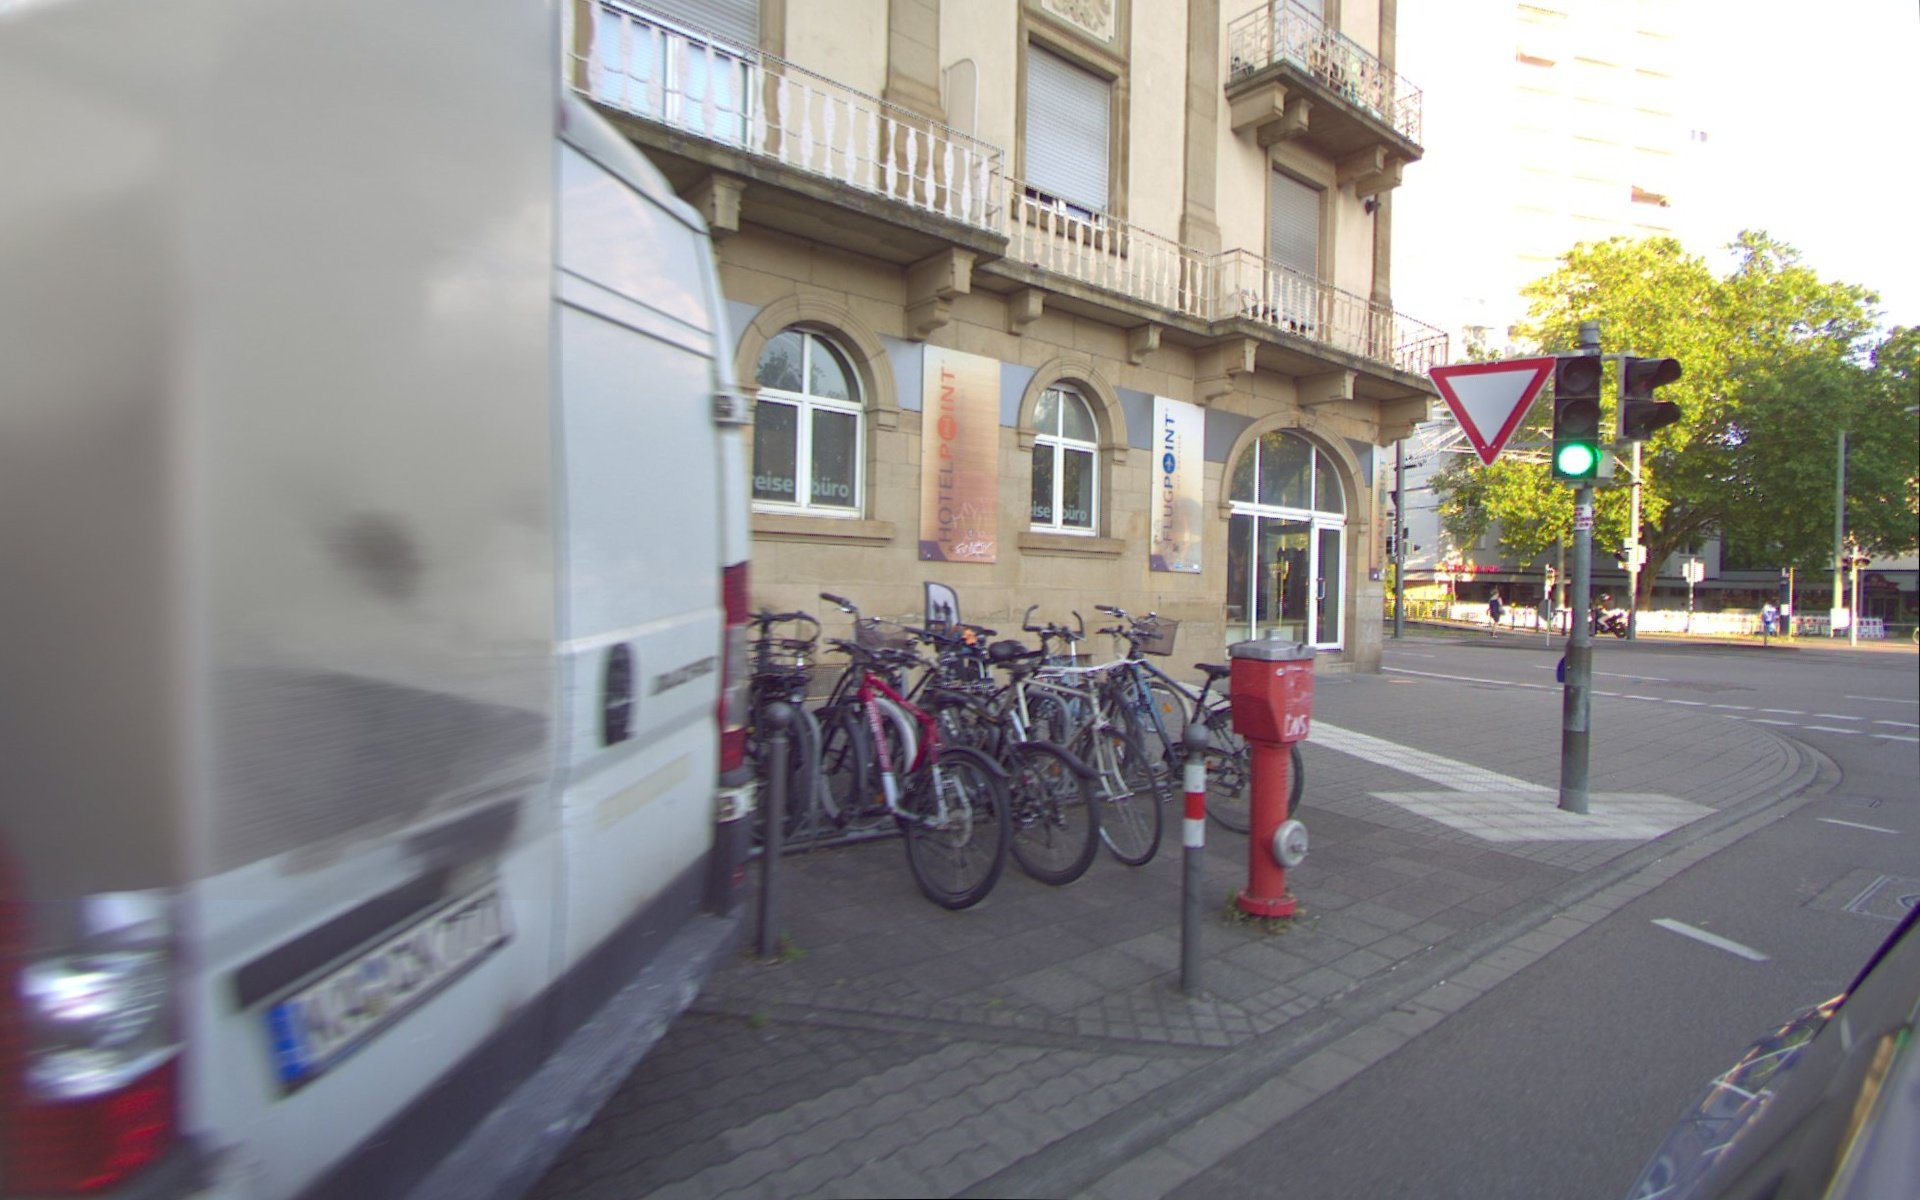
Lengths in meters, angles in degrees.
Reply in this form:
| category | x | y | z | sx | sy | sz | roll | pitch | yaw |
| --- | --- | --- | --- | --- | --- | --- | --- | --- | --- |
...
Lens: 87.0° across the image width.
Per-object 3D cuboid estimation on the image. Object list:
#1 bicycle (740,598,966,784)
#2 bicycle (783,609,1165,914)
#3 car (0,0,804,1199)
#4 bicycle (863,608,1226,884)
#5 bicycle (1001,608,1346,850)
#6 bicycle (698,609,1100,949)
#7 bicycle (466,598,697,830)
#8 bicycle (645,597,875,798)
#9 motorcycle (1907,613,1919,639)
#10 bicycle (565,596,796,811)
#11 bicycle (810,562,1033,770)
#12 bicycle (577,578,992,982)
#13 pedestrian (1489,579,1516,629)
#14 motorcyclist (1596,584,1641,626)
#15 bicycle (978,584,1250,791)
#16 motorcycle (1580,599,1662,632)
| category | x | y | z | sx | sy | sz | roll | pitch | yaw |
| --- | --- | --- | --- | --- | --- | --- | --- | --- | --- |
| bicycle | -0.796 | 0.558 | 7.027 | 0.533 | 1.022 | 1.774 | 1 | 3 | -45 |
| bicycle | -0.021 | 0.671 | 5.021 | 1.995 | 1.101 | 0.533 | 5 | 3 | 42 |
| car | -3.525 | -0.049 | 2.549 | 5.789 | 2.582 | 2.191 | 2 | 3 | 10 |
| bicycle | 0.370 | 0.673 | 5.470 | 1.995 | 1.101 | 0.533 | 5 | 3 | 42 |
| bicycle | 1.209 | 0.679 | 6.126 | 1.995 | 1.101 | 0.533 | 5 | 3 | 42 |
| bicycle | -0.373 | 0.670 | 4.592 | 1.995 | 1.101 | 0.533 | 5 | 3 | 42 |
| bicycle | -2.222 | 0.566 | 5.803 | 0.533 | 1.022 | 1.774 | 1 | 3 | -45 |
| bicycle | -1.342 | 0.551 | 6.542 | 0.533 | 1.022 | 1.774 | 1 | 3 | -45 |
| motorcycle | 35.968 | 0.973 | 36.721 | 2.261 | 0.934 | 0.617 | 1 | 0 | 25 |
| bicycle | -1.757 | 0.548 | 6.172 | 0.533 | 1.022 | 1.774 | 1 | 3 | -45 |
| bicycle | -0.334 | 0.412 | 7.464 | 0.533 | 1.289 | 1.774 | 1 | 3 | -45 |
| bicycle | -0.827 | 0.580 | 4.186 | 1.995 | 1.219 | 0.533 | 5 | 3 | 42 |
| pedestrian | 18.382 | 0.133 | 34.300 | 0.652 | 1.677 | 0.540 | 1 | 0 | 16 |
| motorcyclist | 25.505 | 0.182 | 39.208 | 0.889 | 1.574 | 1.159 | 1 | 0 | -12 |
| bicycle | 1.049 | 0.552 | 7.406 | 0.635 | 1.215 | 2.001 | 1 | 3 | -40 |
| motorcycle | 25.512 | 0.578 | 39.127 | 0.890 | 1.144 | 2.812 | 1 | 1 | -13 |
